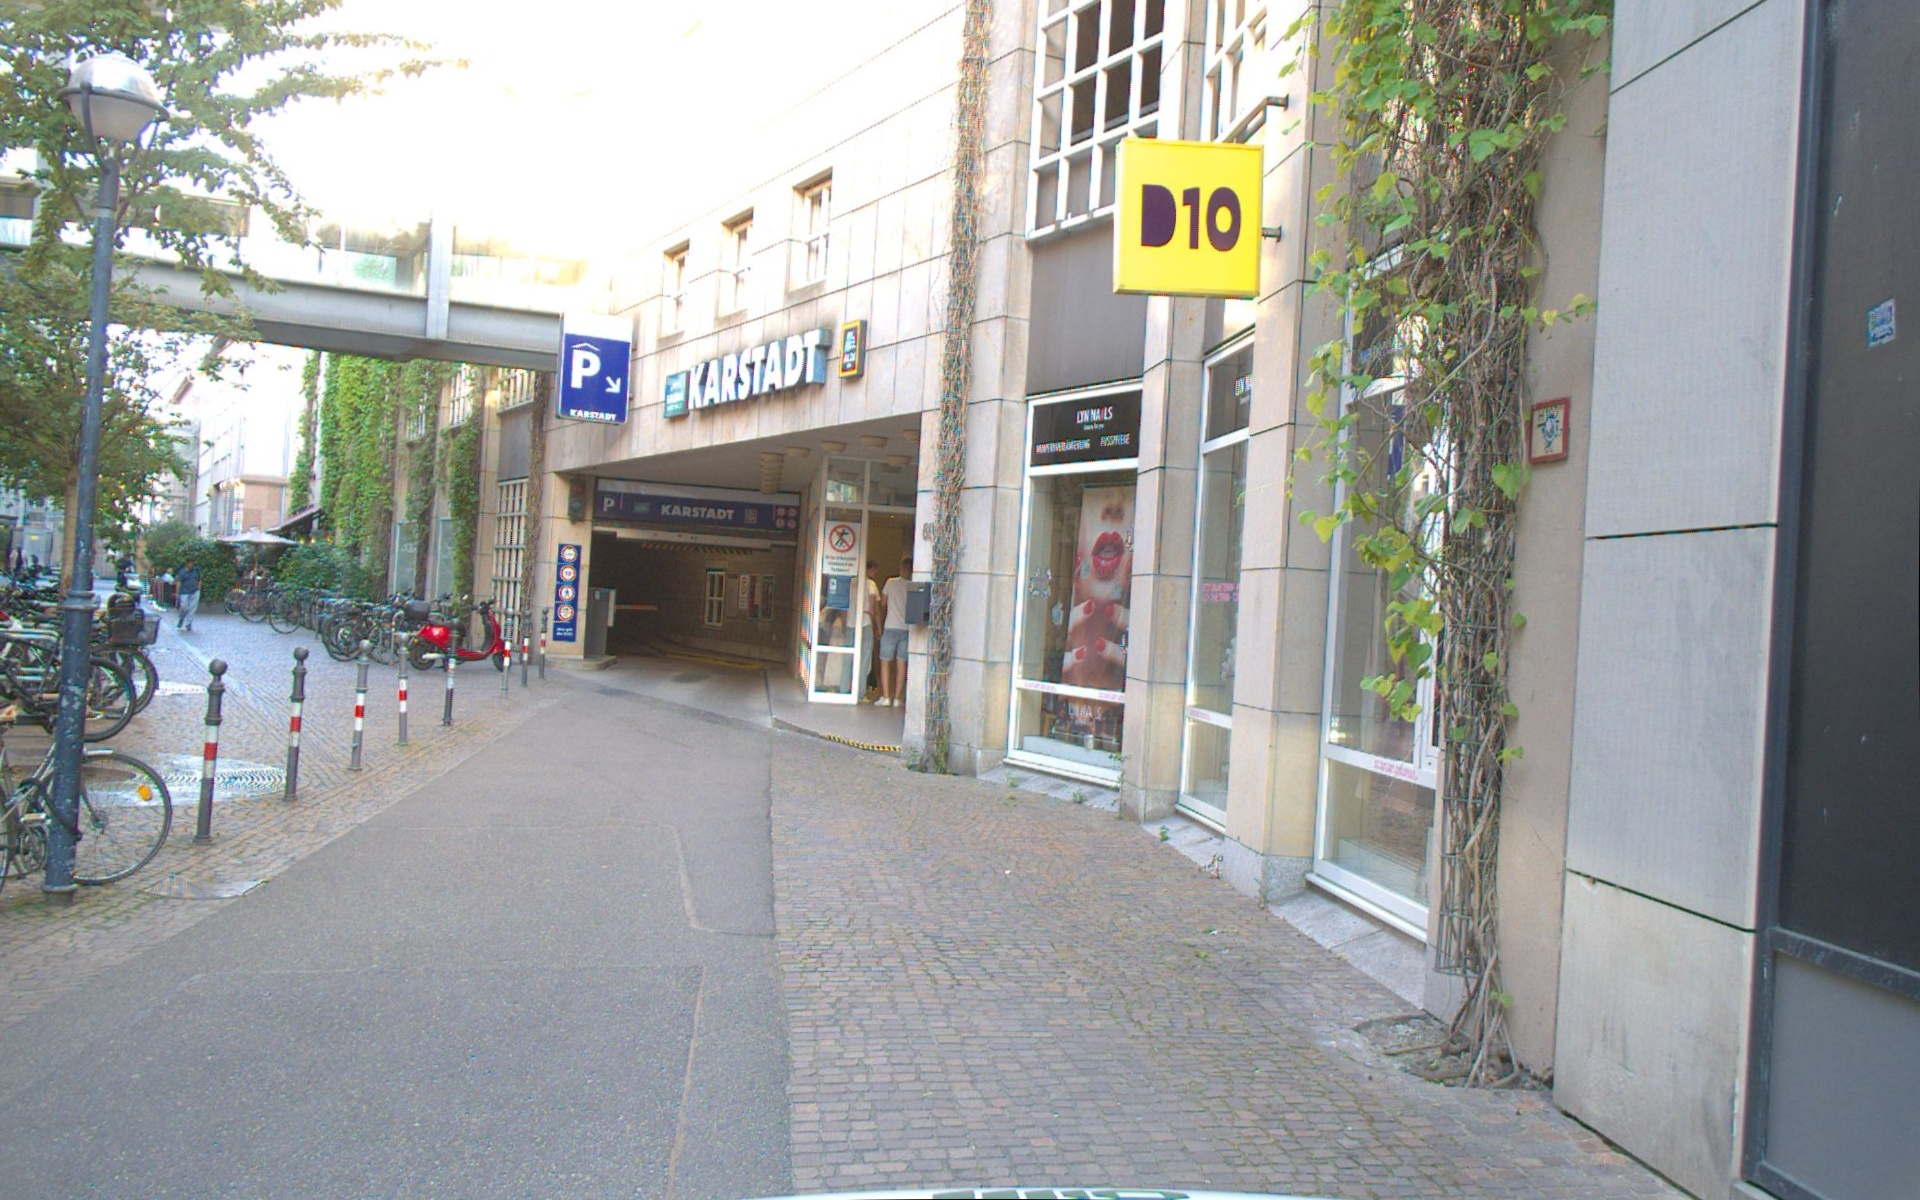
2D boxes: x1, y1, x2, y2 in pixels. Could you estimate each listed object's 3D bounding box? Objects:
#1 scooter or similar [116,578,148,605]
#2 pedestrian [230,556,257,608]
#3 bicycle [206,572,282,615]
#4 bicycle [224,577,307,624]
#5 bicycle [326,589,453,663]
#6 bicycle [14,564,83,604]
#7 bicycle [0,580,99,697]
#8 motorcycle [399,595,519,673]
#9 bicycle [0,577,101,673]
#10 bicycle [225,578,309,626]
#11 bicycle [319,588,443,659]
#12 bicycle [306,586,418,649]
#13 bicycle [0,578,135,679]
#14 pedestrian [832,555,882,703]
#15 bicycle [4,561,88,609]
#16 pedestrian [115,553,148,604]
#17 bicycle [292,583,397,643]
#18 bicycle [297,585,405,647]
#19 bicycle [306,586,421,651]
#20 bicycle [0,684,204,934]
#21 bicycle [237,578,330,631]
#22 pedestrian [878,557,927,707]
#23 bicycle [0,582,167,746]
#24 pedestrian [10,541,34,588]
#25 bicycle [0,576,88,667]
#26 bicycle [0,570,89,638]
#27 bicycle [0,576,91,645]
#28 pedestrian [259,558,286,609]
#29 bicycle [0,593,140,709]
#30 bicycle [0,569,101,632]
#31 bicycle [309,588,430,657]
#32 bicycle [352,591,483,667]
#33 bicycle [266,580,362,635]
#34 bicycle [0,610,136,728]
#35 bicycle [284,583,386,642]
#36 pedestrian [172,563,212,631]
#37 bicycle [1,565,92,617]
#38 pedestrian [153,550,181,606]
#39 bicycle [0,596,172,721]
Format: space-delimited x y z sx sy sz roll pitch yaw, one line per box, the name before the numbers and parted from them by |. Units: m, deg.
scooter or similar | -27.510 -0.289 54.941 0.881 0.858 0.903 3 0 -29
pedestrian | -25.948 -0.641 59.887 0.766 1.836 0.760 3 0 -30
bicycle | -20.703 -0.177 47.811 1.970 1.203 0.688 1 0 -27
bicycle | -18.317 0.019 43.613 1.970 1.203 0.688 1 0 -27
bicycle | -9.711 0.444 28.173 1.970 1.203 0.690 1 0 -27
bicycle | -29.940 -0.512 54.343 1.888 1.203 0.691 3 0 -25
bicycle | -10.334 0.388 17.699 1.888 1.203 0.691 3 0 -25
motorcycle | -7.834 0.532 25.875 1.723 1.175 0.590 1 0 -25
bicycle | -12.482 0.316 21.874 1.888 1.203 0.691 3 0 -25
bicycle | -17.950 0.051 42.846 1.970 1.203 0.688 1 0 -27
bicycle | -10.149 0.419 29.001 1.970 1.203 0.796 1 1 -27
bicycle | -11.708 0.347 32.392 1.970 1.203 0.688 1 0 -27
bicycle | -11.698 0.359 21.236 1.888 1.203 0.691 3 0 -25
pedestrian | -1.343 0.374 21.573 0.531 1.878 0.408 3 0 -1
bicycle | -24.925 -0.399 45.154 1.888 1.203 0.691 3 0 -25
pedestrian | -27.923 -0.725 55.744 0.881 1.668 0.903 3 0 -29
bicycle | -12.793 0.273 34.380 1.970 1.203 0.688 1 0 -27
bicycle | -12.216 0.322 33.179 1.970 1.203 0.688 1 0 -27
bicycle | -11.334 0.356 31.448 1.970 1.203 0.796 1 1 -27
bicycle | -4.260 0.930 7.677 0.494 0.983 1.696 2 0 8
bicycle | -16.045 0.111 39.228 1.970 1.203 0.688 1 0 -27
pedestrian | -0.743 0.411 21.416 0.531 1.894 0.408 3 0 -1
bicycle | -7.612 0.515 13.616 1.891 1.283 0.801 3 0 -28
pedestrian | -37.119 -1.396 65.463 0.766 1.836 0.628 3 0 -30
bicycle | -13.162 0.276 22.831 1.888 1.203 0.691 3 0 -25
bicycle | -17.711 0.064 31.483 1.888 1.203 0.691 3 0 -25
bicycle | -17.265 0.187 30.730 1.888 1.203 0.691 3 0 -25
pedestrian | -24.961 -0.600 60.054 0.766 1.836 0.760 3 0 -30
bicycle | -9.480 0.508 16.908 1.888 1.121 0.691 3 0 -25
bicycle | -18.878 0.016 34.184 1.888 1.203 0.691 3 0 -25
bicycle | -10.729 0.410 30.065 1.970 1.203 0.796 1 1 -27
bicycle | -8.980 0.485 27.407 1.970 1.203 0.690 1 0 -27
bicycle | -14.676 0.163 37.584 1.970 1.203 0.688 1 0 -27
bicycle | -8.512 0.608 14.918 1.891 1.011 0.690 3 0 -28
bicycle | -13.360 0.269 35.385 1.970 1.203 0.688 1 0 -27
pedestrian | -17.728 -0.069 38.166 0.740 1.536 0.632 3 0 -29
bicycle | -22.935 -0.232 41.557 1.888 1.203 0.691 3 0 -25
pedestrian | -26.528 -0.747 55.329 0.756 1.836 0.770 3 0 -29
bicycle | -8.621 0.556 15.829 1.891 1.121 0.690 3 0 -28
